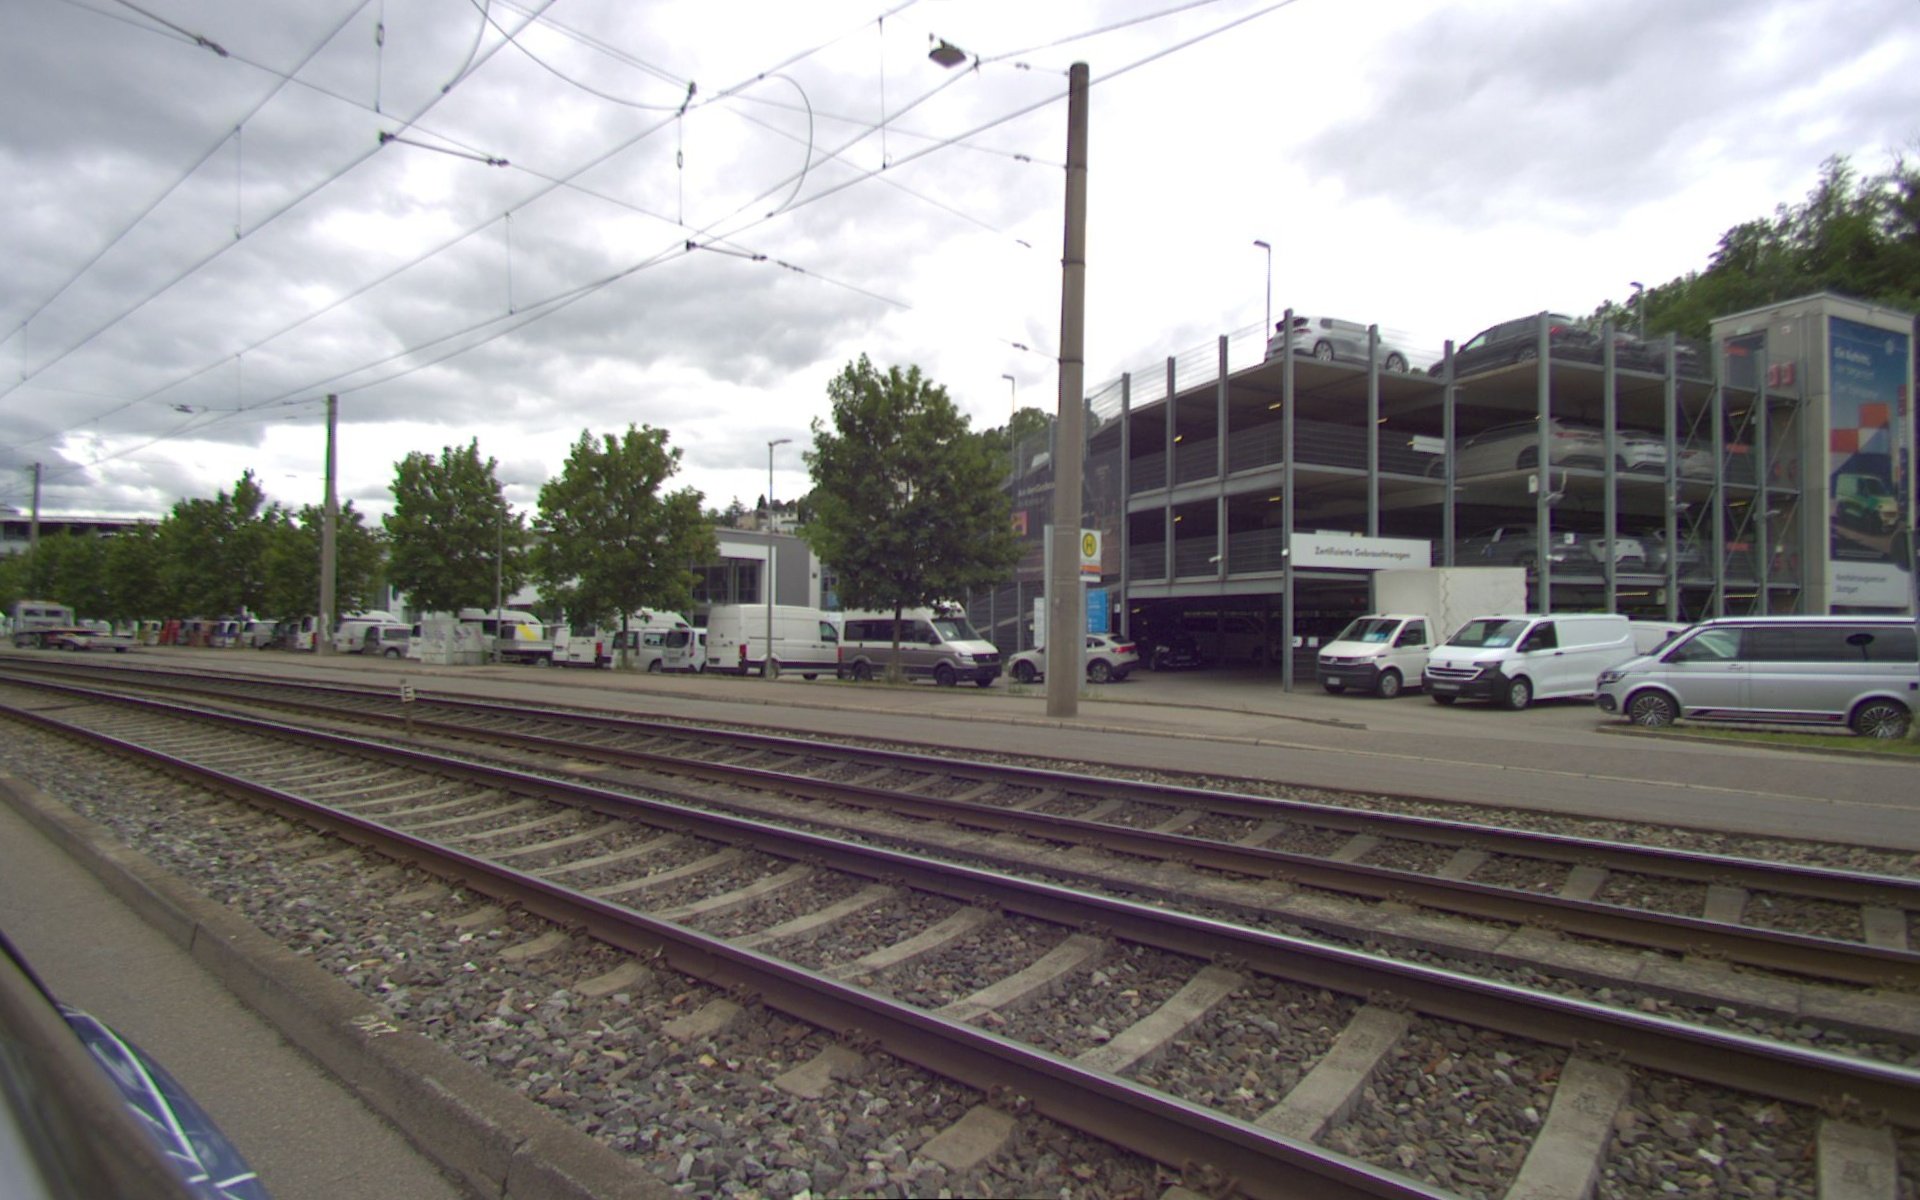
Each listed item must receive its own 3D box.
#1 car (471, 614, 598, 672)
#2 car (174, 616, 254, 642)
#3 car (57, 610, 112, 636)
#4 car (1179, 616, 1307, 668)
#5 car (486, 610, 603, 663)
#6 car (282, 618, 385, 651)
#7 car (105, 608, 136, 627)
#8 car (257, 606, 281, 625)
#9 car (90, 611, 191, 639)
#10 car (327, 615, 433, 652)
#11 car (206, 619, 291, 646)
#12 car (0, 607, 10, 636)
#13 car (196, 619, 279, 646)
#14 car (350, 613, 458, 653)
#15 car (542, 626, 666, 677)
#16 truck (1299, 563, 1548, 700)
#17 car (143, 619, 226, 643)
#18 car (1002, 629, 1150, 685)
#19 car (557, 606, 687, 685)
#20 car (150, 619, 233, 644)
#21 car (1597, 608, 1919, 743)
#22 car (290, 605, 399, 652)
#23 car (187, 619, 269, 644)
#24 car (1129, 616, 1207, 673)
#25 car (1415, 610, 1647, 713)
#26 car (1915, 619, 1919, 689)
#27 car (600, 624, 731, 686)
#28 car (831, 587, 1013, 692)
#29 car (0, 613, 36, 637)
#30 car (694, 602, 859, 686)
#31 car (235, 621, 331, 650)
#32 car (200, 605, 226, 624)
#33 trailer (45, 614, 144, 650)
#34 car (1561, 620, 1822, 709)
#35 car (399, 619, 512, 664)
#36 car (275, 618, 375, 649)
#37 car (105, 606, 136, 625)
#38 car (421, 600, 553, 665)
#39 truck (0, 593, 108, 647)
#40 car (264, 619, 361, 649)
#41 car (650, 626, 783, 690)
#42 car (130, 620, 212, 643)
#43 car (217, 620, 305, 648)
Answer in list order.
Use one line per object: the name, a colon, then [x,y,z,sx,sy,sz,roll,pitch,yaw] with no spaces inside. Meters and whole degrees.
car: [-17.156,1.716,40.987,1.999,2.189,4.328,-1,-2,35]
car: [-49.679,1.942,67.452,2.046,1.677,3.946,-1,-2,40]
car: [-68.607,1.801,79.272,4.847,2.029,1.977,0,-2,34]
car: [11.084,1.605,39.744,4.455,1.918,1.976,-1,-2,36]
car: [-18.021,1.562,44.060,1.999,2.189,4.328,-1,-2,35]
car: [-34.278,1.878,55.454,2.027,1.701,4.327,-1,-2,35]
car: [-90.163,1.872,108.698,1.966,2.029,4.012,2,-2,-31]
car: [-79.034,1.772,115.820,1.966,2.029,4.012,2,-2,-31]
car: [-61.246,1.902,75.806,5.618,2.023,2.149,2,-2,-34]
car: [-29.960,1.728,52.344,2.002,1.859,4.322,-1,-2,39]
car: [-44.319,2.018,63.106,1.998,1.630,3.946,-1,-2,40]
car: [-88.881,1.947,91.517,5.820,2.580,1.986,0,-2,21]
car: [-46.153,2.080,64.692,1.998,1.630,3.946,-1,-2,40]
car: [-27.997,1.653,51.090,2.002,1.962,4.322,-1,-2,39]
car: [-14.227,2.030,40.663,1.999,1.925,4.328,-1,-2,35]
truck: [11.440,0.799,24.968,5.835,3.108,2.127,1,-2,-22]
car: [-54.531,2.192,71.212,2.118,1.630,4.301,-1,-2,40]
car: [3.595,1.756,31.463,4.116,1.630,1.981,-2,-3,28]
car: [-12.735,1.685,38.400,1.999,2.840,4.328,-1,-2,35]
car: [-52.231,2.128,68.873,2.061,1.630,4.135,-1,-2,40]
car: [13.685,1.180,17.013,4.911,2.029,1.975,-1,-2,37]
car: [-32.239,1.505,53.100,2.123,2.329,4.451,-1,-2,39]
car: [-47.746,2.057,66.072,1.998,1.630,3.946,-1,-2,40]
car: [7.333,1.556,36.033,1.972,1.918,3.998,1,-2,1]
car: [12.379,1.293,21.940,4.648,2.029,2.006,1,-2,-24]
car: [28.034,1.510,27.059,1.985,2.029,4.251,-1,-2,19]
car: [-10.740,1.973,37.157,1.999,2.121,4.328,-1,-2,35]
car: [-1.302,1.201,32.010,5.933,3.042,2.086,-1,-2,41]
car: [-83.459,2.171,89.036,4.792,2.029,1.978,-1,-2,32]
car: [-6.141,1.454,34.501,2.244,2.622,5.419,-1,-2,38]
car: [-39.778,2.062,59.543,2.001,1.630,4.324,-1,-2,38]
car: [-82.851,1.617,112.260,1.966,2.029,4.012,2,-2,-31]
trailer: [-44.935,1.640,52.483,6.935,1.711,2.361,-1,-4,37]
car: [16.707,1.405,23.416,1.965,1.845,4.482,1,-2,-25]
car: [-23.693,1.910,47.633,1.999,2.026,4.328,-1,-2,35]
car: [-35.781,1.880,57.108,2.002,1.630,4.322,-1,-2,39]
car: [-89.552,1.694,107.980,1.966,2.029,4.012,2,-2,-31]
car: [-20.925,1.452,44.953,2.110,2.719,4.923,-1,-2,35]
truck: [-51.399,1.159,57.225,9.200,2.763,2.731,-1,-4,36]
car: [-37.579,1.973,58.788,2.002,1.699,4.322,-1,-2,39]
car: [-8.516,1.987,35.733,1.999,2.121,4.328,-1,-2,35]
car: [-56.819,2.257,72.937,2.152,1.630,4.292,-1,-2,40]
car: [-41.994,2.020,60.865,1.998,1.630,3.946,-1,-2,40]
